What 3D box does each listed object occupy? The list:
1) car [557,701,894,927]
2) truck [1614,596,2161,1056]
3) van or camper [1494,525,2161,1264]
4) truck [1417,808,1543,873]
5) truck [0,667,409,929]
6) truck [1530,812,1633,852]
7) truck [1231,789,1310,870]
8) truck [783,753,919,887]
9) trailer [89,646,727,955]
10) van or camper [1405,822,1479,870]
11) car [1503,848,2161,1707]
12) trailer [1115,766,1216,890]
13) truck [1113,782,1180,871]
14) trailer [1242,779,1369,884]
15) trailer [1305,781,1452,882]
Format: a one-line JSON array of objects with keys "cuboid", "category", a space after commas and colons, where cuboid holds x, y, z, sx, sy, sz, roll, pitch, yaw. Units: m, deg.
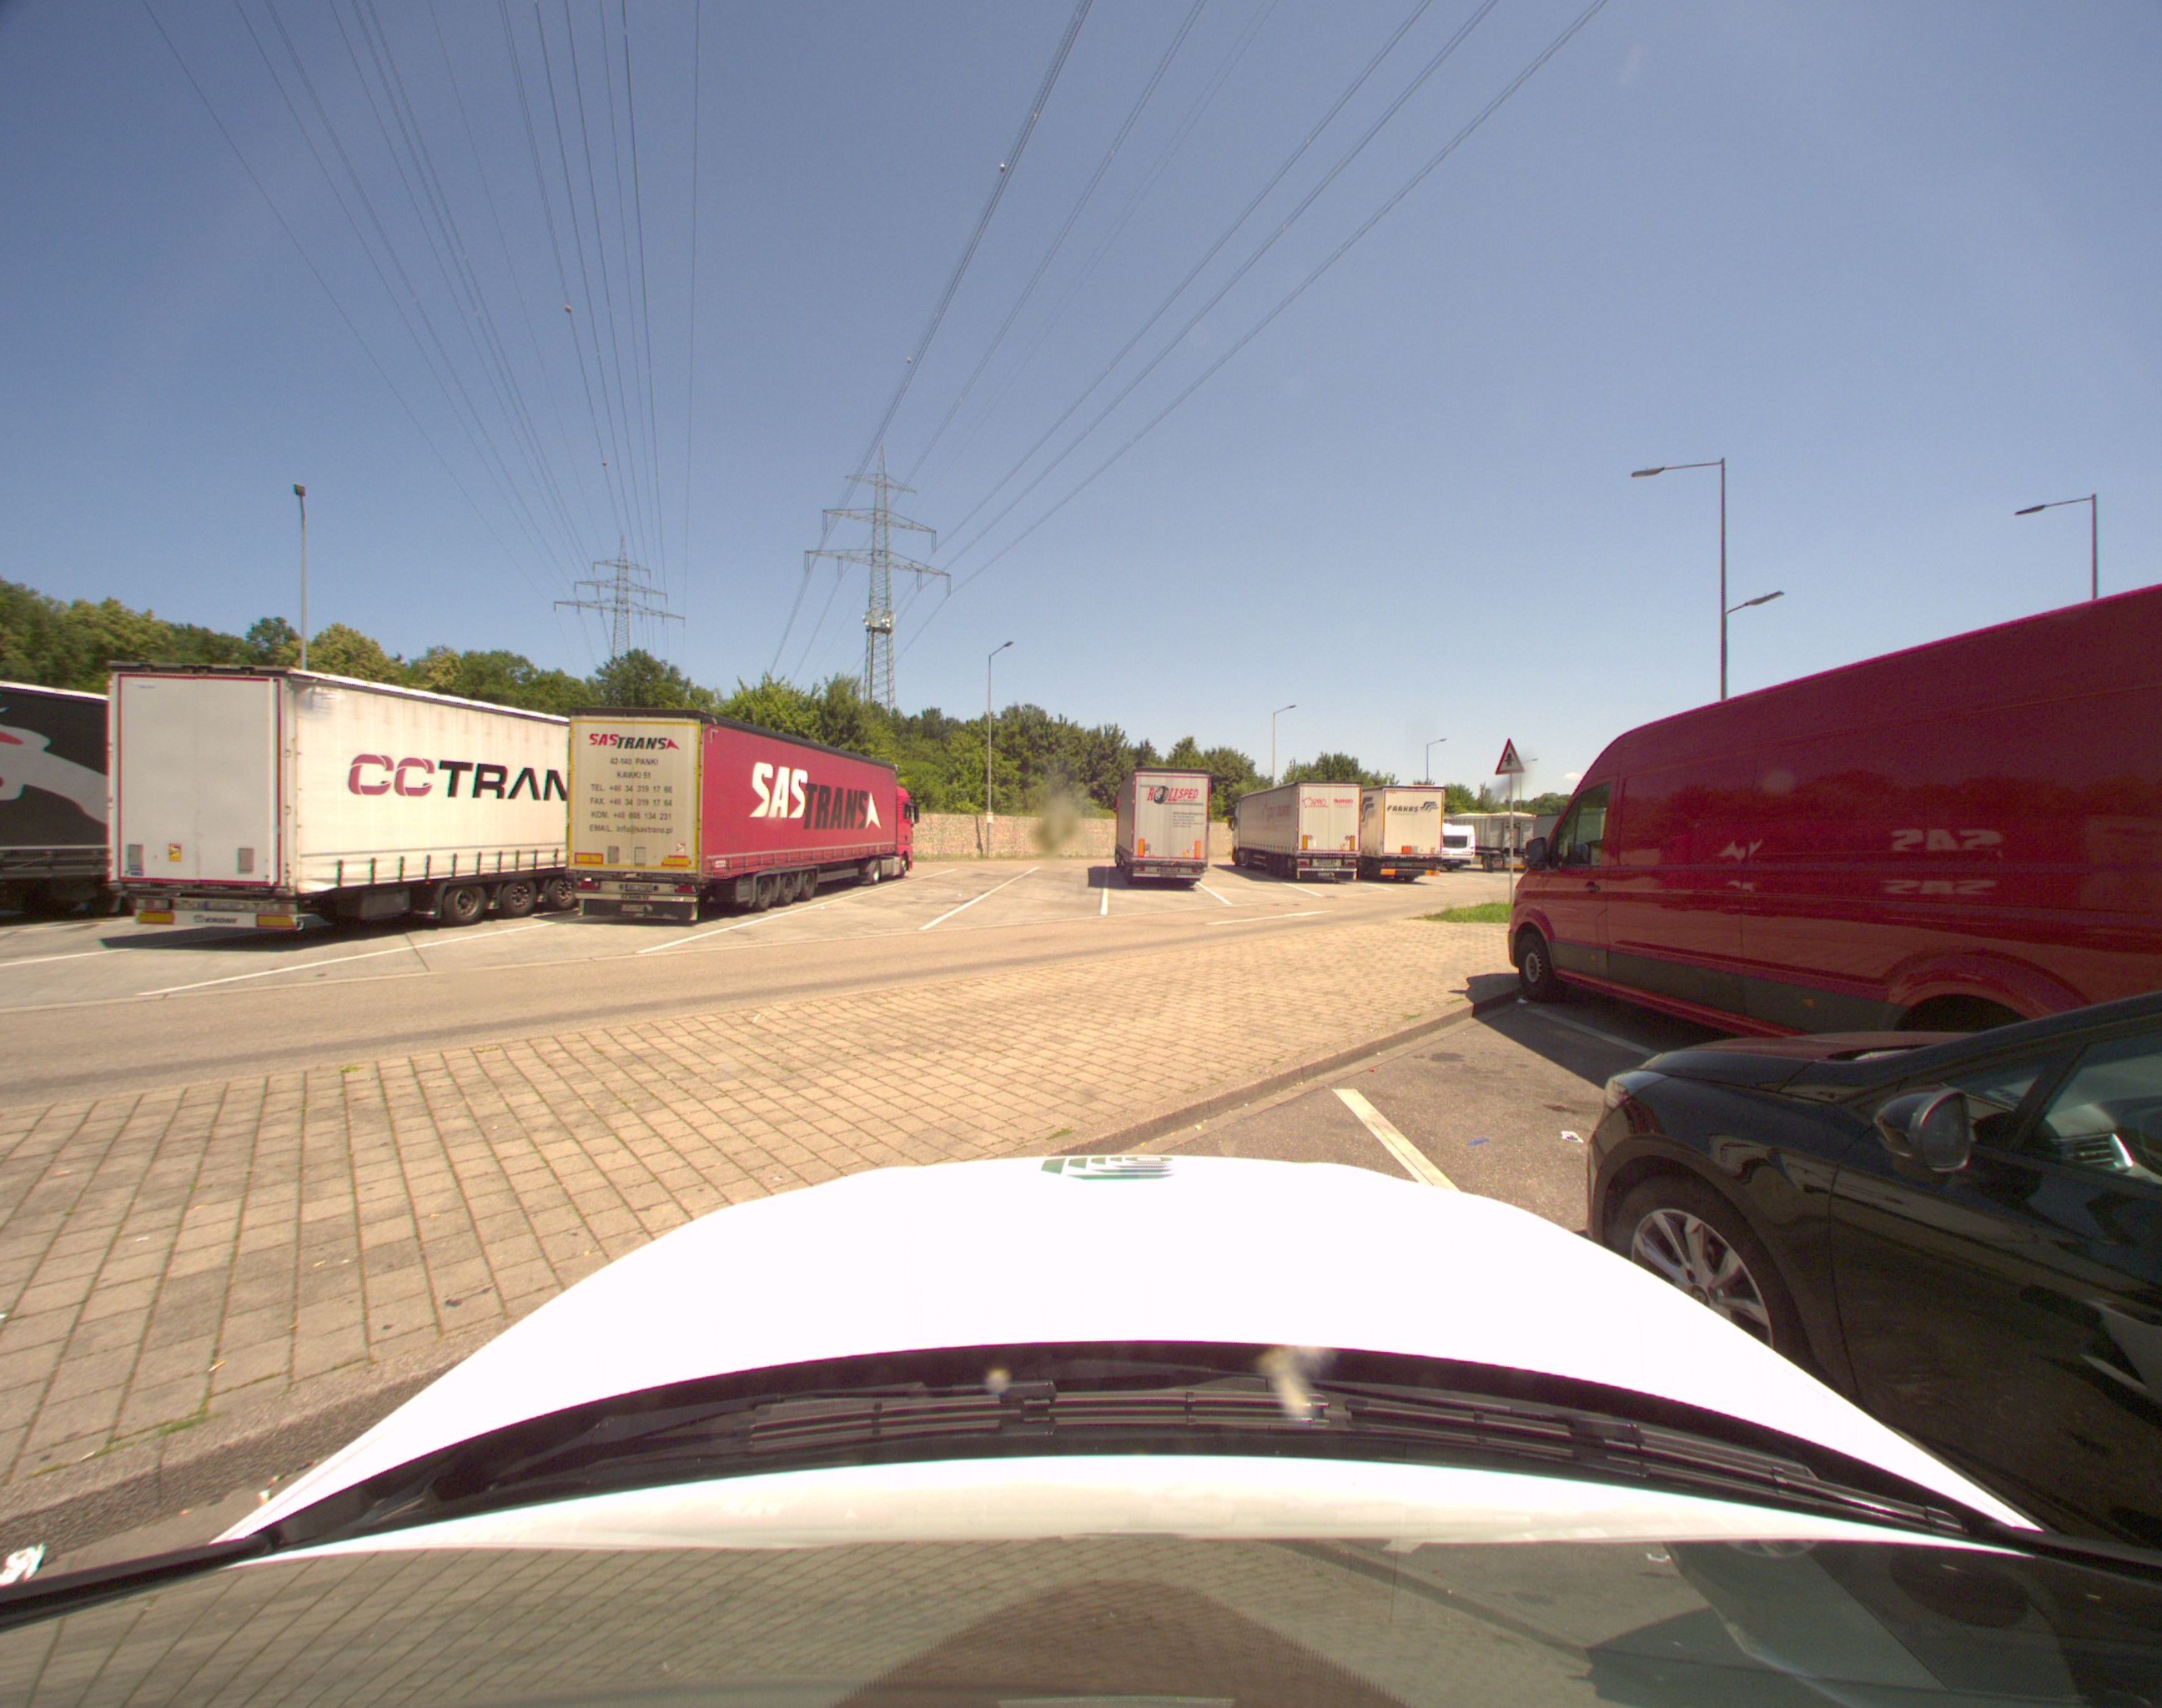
[{"cuboid": [-8.045, -0.941, 21.448, 2.686, 4.112, 12.943, 1, 2, 2], "category": "car"}, {"cuboid": [7.942, -0.211, 7.080, 2.455, 2.792, 6.978, 0, 1, 4], "category": "truck"}, {"cuboid": [5.142, 0.099, 5.508, 1.986, 2.654, 6.490, -1, 1, 6], "category": "van or camper"}, {"cuboid": [24.304, -0.964, 50.515, 2.478, 3.568, 11.429, 1, 2, 2], "category": "truck"}, {"cuboid": [-18.614, -1.029, 16.285, 2.803, 4.190, 8.793, 0, 2, 2], "category": "truck"}, {"cuboid": [38.038, -1.651, 62.393, 2.117, 2.820, 9.783, -1, 1, 2], "category": "truck"}, {"cuboid": [10.184, -1.376, 44.549, 2.856, 4.037, 6.960, 1, 2, 2], "category": "truck"}, {"cuboid": [-7.746, -1.161, 28.365, 2.686, 4.112, 6.243, 1, 2, 2], "category": "truck"}, {"cuboid": [-12.159, -0.982, 17.805, 2.803, 4.266, 12.947, 0, 2, 2], "category": "trailer"}, {"cuboid": [20.594, -0.472, 46.756, 2.096, 2.561, 5.376, -1, 1, 3], "category": "van or camper"}, {"cuboid": [2.458, 0.755, 1.156, 1.612, 1.483, 3.762, -1, 1, -4], "category": "car"}, {"cuboid": [3.049, -1.111, 33.744, 2.857, 4.037, 14.244, 0, 2, 1], "category": "trailer"}, {"cuboid": [3.142, -1.402, 40.833, 2.857, 4.037, 7.029, 0, 2, 1], "category": "truck"}, {"cuboid": [9.958, -1.110, 37.917, 2.856, 4.037, 12.445, 1, 2, 2], "category": "trailer"}, {"cuboid": [13.645, -1.129, 38.892, 2.856, 4.037, 12.445, 1, 2, 2], "category": "trailer"}]
